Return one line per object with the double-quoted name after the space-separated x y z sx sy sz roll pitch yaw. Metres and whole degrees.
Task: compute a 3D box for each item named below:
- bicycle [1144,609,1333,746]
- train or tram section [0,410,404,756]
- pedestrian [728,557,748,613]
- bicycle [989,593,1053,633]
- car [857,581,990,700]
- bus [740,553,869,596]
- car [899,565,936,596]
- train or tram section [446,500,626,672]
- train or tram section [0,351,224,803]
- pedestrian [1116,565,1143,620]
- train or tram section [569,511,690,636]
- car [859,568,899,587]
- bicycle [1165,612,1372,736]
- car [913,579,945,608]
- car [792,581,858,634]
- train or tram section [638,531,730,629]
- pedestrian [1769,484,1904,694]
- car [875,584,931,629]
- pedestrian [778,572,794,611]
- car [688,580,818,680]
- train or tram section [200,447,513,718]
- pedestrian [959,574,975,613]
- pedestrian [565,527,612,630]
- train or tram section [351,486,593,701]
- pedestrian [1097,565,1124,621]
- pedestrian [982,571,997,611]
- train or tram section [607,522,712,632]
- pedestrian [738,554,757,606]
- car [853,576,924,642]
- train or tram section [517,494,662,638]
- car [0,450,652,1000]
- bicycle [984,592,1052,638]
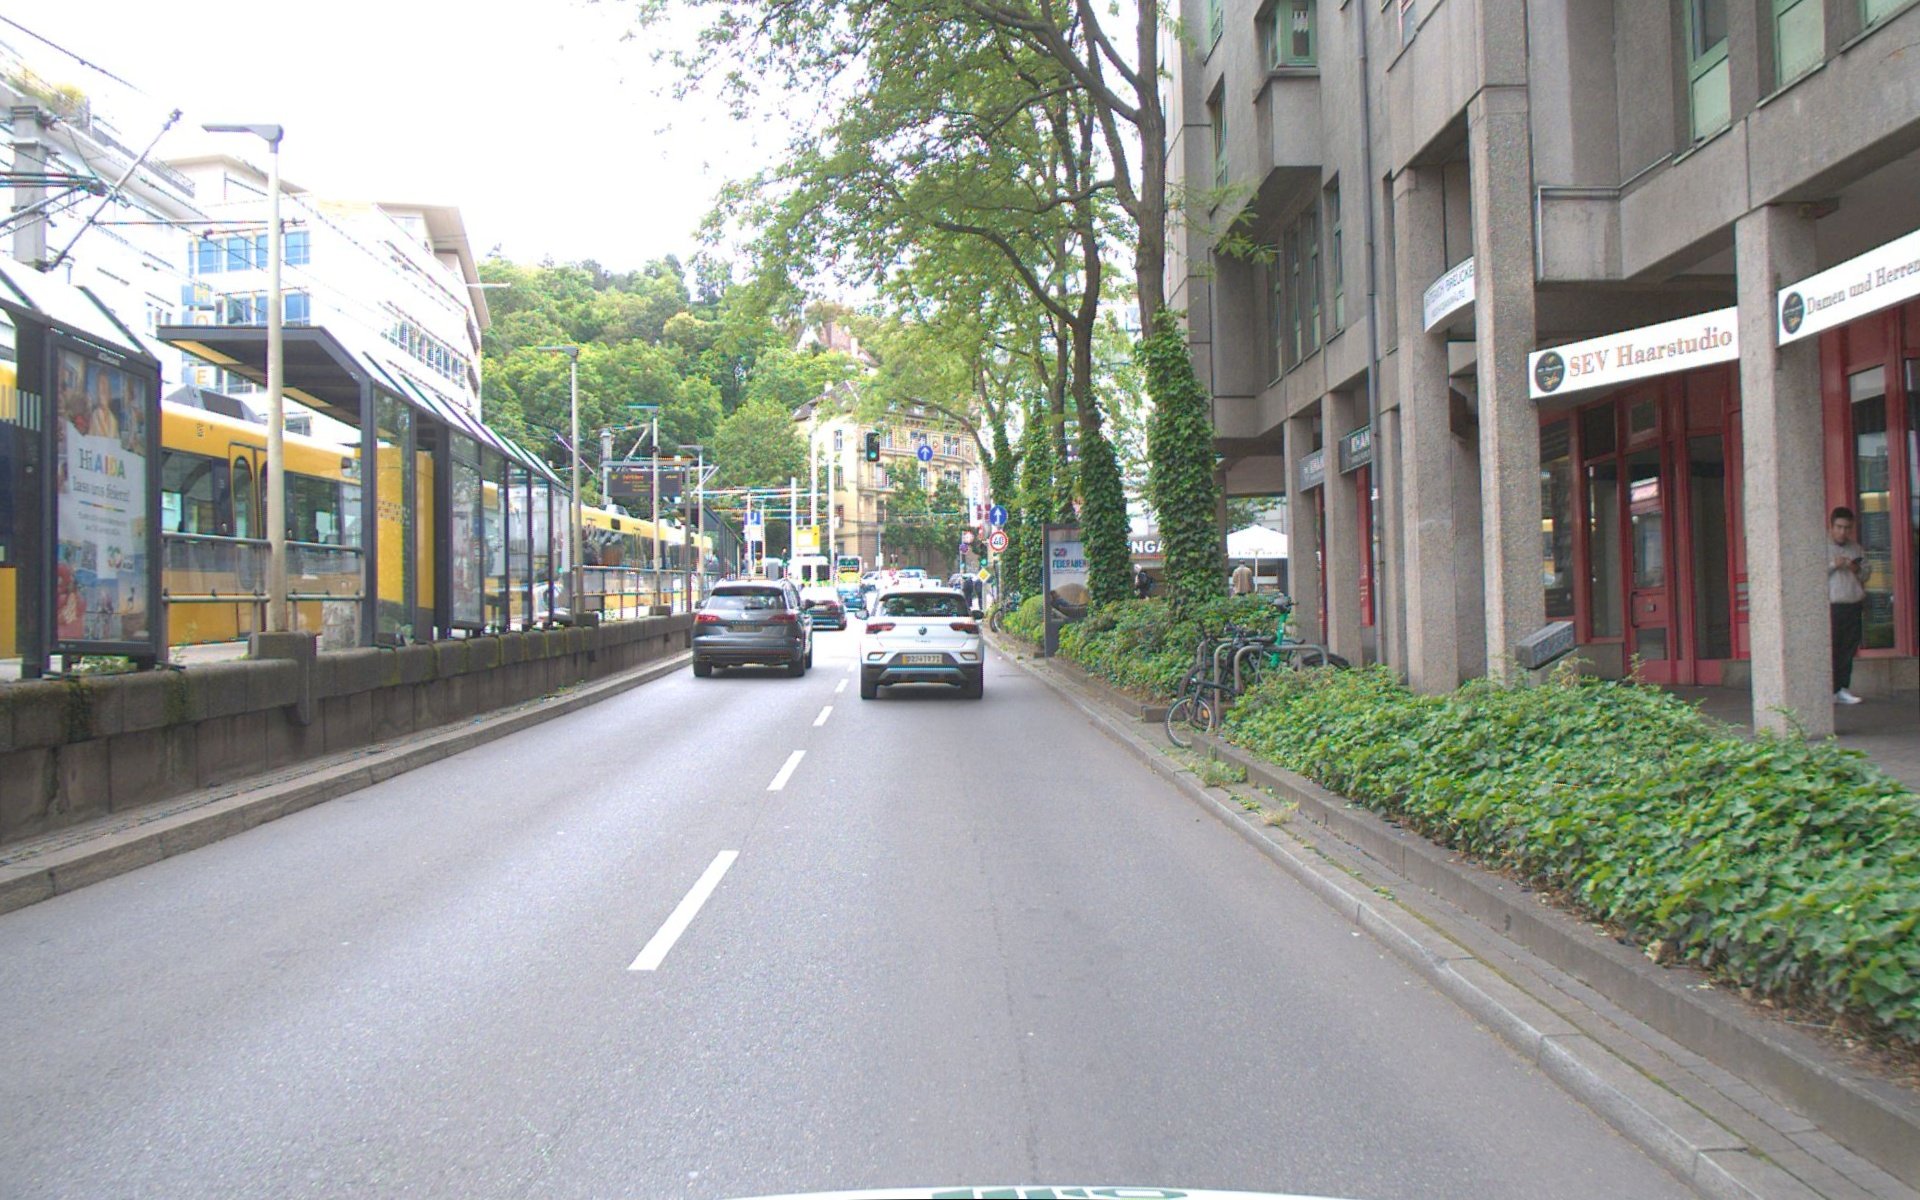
2.517 0.695 15.067 1.586 1.147 0.613 -3 0 2 "bicycle"
-9.083 -0.168 20.035 2.777 3.582 5.750 0 0 -1 "train or tram section"
-8.354 -0.557 62.226 0.748 2.049 0.837 1 -1 -8 "pedestrian"
1.786 0.398 48.521 1.841 1.157 0.808 0 -1 5 "bicycle"
-0.540 0.563 24.583 1.800 1.611 4.155 0 0 -1 "car"
-12.935 -2.039 135.948 3.355 3.118 13.114 2 -2 -43 "bus"
-3.048 -1.412 120.029 2.315 2.049 5.149 0 -1 2 "car"
-9.952 -0.297 39.532 2.756 3.730 6.748 0 0 -2 "train or tram section"
-9.014 -0.186 14.276 2.777 3.582 5.750 0 0 -1 "train or tram section"
5.103 -0.206 49.782 0.627 1.636 0.584 1 -2 -22 "pedestrian"
-10.479 -0.782 53.066 2.756 3.730 6.748 0 0 -2 "train or tram section"
-7.667 -2.086 156.327 1.877 1.719 3.990 1 1 32 "car"
3.026 0.711 16.299 1.878 1.095 0.613 -3 0 -4 "bicycle"
-1.887 -0.391 102.274 1.846 1.713 4.161 0 -1 1 "car"
-4.587 0.238 56.644 1.872 1.719 4.001 1 1 1 "car"
-11.018 -0.756 66.584 2.756 3.730 6.748 0 0 -2 "train or tram section"
8.002 -0.109 15.127 0.814 1.834 0.724 -2 2 1 "pedestrian"
-2.316 0.282 66.547 1.849 1.713 4.153 1 -1 -8 "car"
-9.272 -0.433 88.007 0.746 2.049 0.838 0 -1 -1 "pedestrian"
-3.649 0.485 29.766 1.953 1.664 3.999 0 0 -2 "car"
-9.155 -0.227 25.874 2.756 3.730 5.901 0 0 -1 "train or tram section"
0.366 -0.351 87.537 0.746 2.049 0.839 0 -1 4 "pedestrian"
-6.606 -0.374 29.435 0.614 1.793 0.846 -1 0 -2 "pedestrian"
-9.247 -0.104 32.203 2.756 3.730 6.750 0 0 -1 "train or tram section"
4.503 -0.212 49.533 0.627 1.643 0.584 1 -2 -22 "pedestrian"
1.505 -0.448 84.188 0.746 2.049 0.839 0 -1 4 "pedestrian"
-10.754 -0.785 59.819 2.756 3.730 6.748 0 0 -2 "train or tram section"
-8.534 -0.806 66.459 0.748 2.049 0.837 1 -1 -8 "pedestrian"
-1.910 0.270 45.080 1.847 1.713 4.159 0 -1 -2 "car"
-10.222 -0.867 46.297 2.756 3.730 6.748 0 0 -2 "train or tram section"
-3.307 0.514 8.765 2.316 2.049 5.148 0 -1 1 "car"
1.649 0.425 47.025 1.840 1.288 0.765 0 -1 9 "bicycle"
